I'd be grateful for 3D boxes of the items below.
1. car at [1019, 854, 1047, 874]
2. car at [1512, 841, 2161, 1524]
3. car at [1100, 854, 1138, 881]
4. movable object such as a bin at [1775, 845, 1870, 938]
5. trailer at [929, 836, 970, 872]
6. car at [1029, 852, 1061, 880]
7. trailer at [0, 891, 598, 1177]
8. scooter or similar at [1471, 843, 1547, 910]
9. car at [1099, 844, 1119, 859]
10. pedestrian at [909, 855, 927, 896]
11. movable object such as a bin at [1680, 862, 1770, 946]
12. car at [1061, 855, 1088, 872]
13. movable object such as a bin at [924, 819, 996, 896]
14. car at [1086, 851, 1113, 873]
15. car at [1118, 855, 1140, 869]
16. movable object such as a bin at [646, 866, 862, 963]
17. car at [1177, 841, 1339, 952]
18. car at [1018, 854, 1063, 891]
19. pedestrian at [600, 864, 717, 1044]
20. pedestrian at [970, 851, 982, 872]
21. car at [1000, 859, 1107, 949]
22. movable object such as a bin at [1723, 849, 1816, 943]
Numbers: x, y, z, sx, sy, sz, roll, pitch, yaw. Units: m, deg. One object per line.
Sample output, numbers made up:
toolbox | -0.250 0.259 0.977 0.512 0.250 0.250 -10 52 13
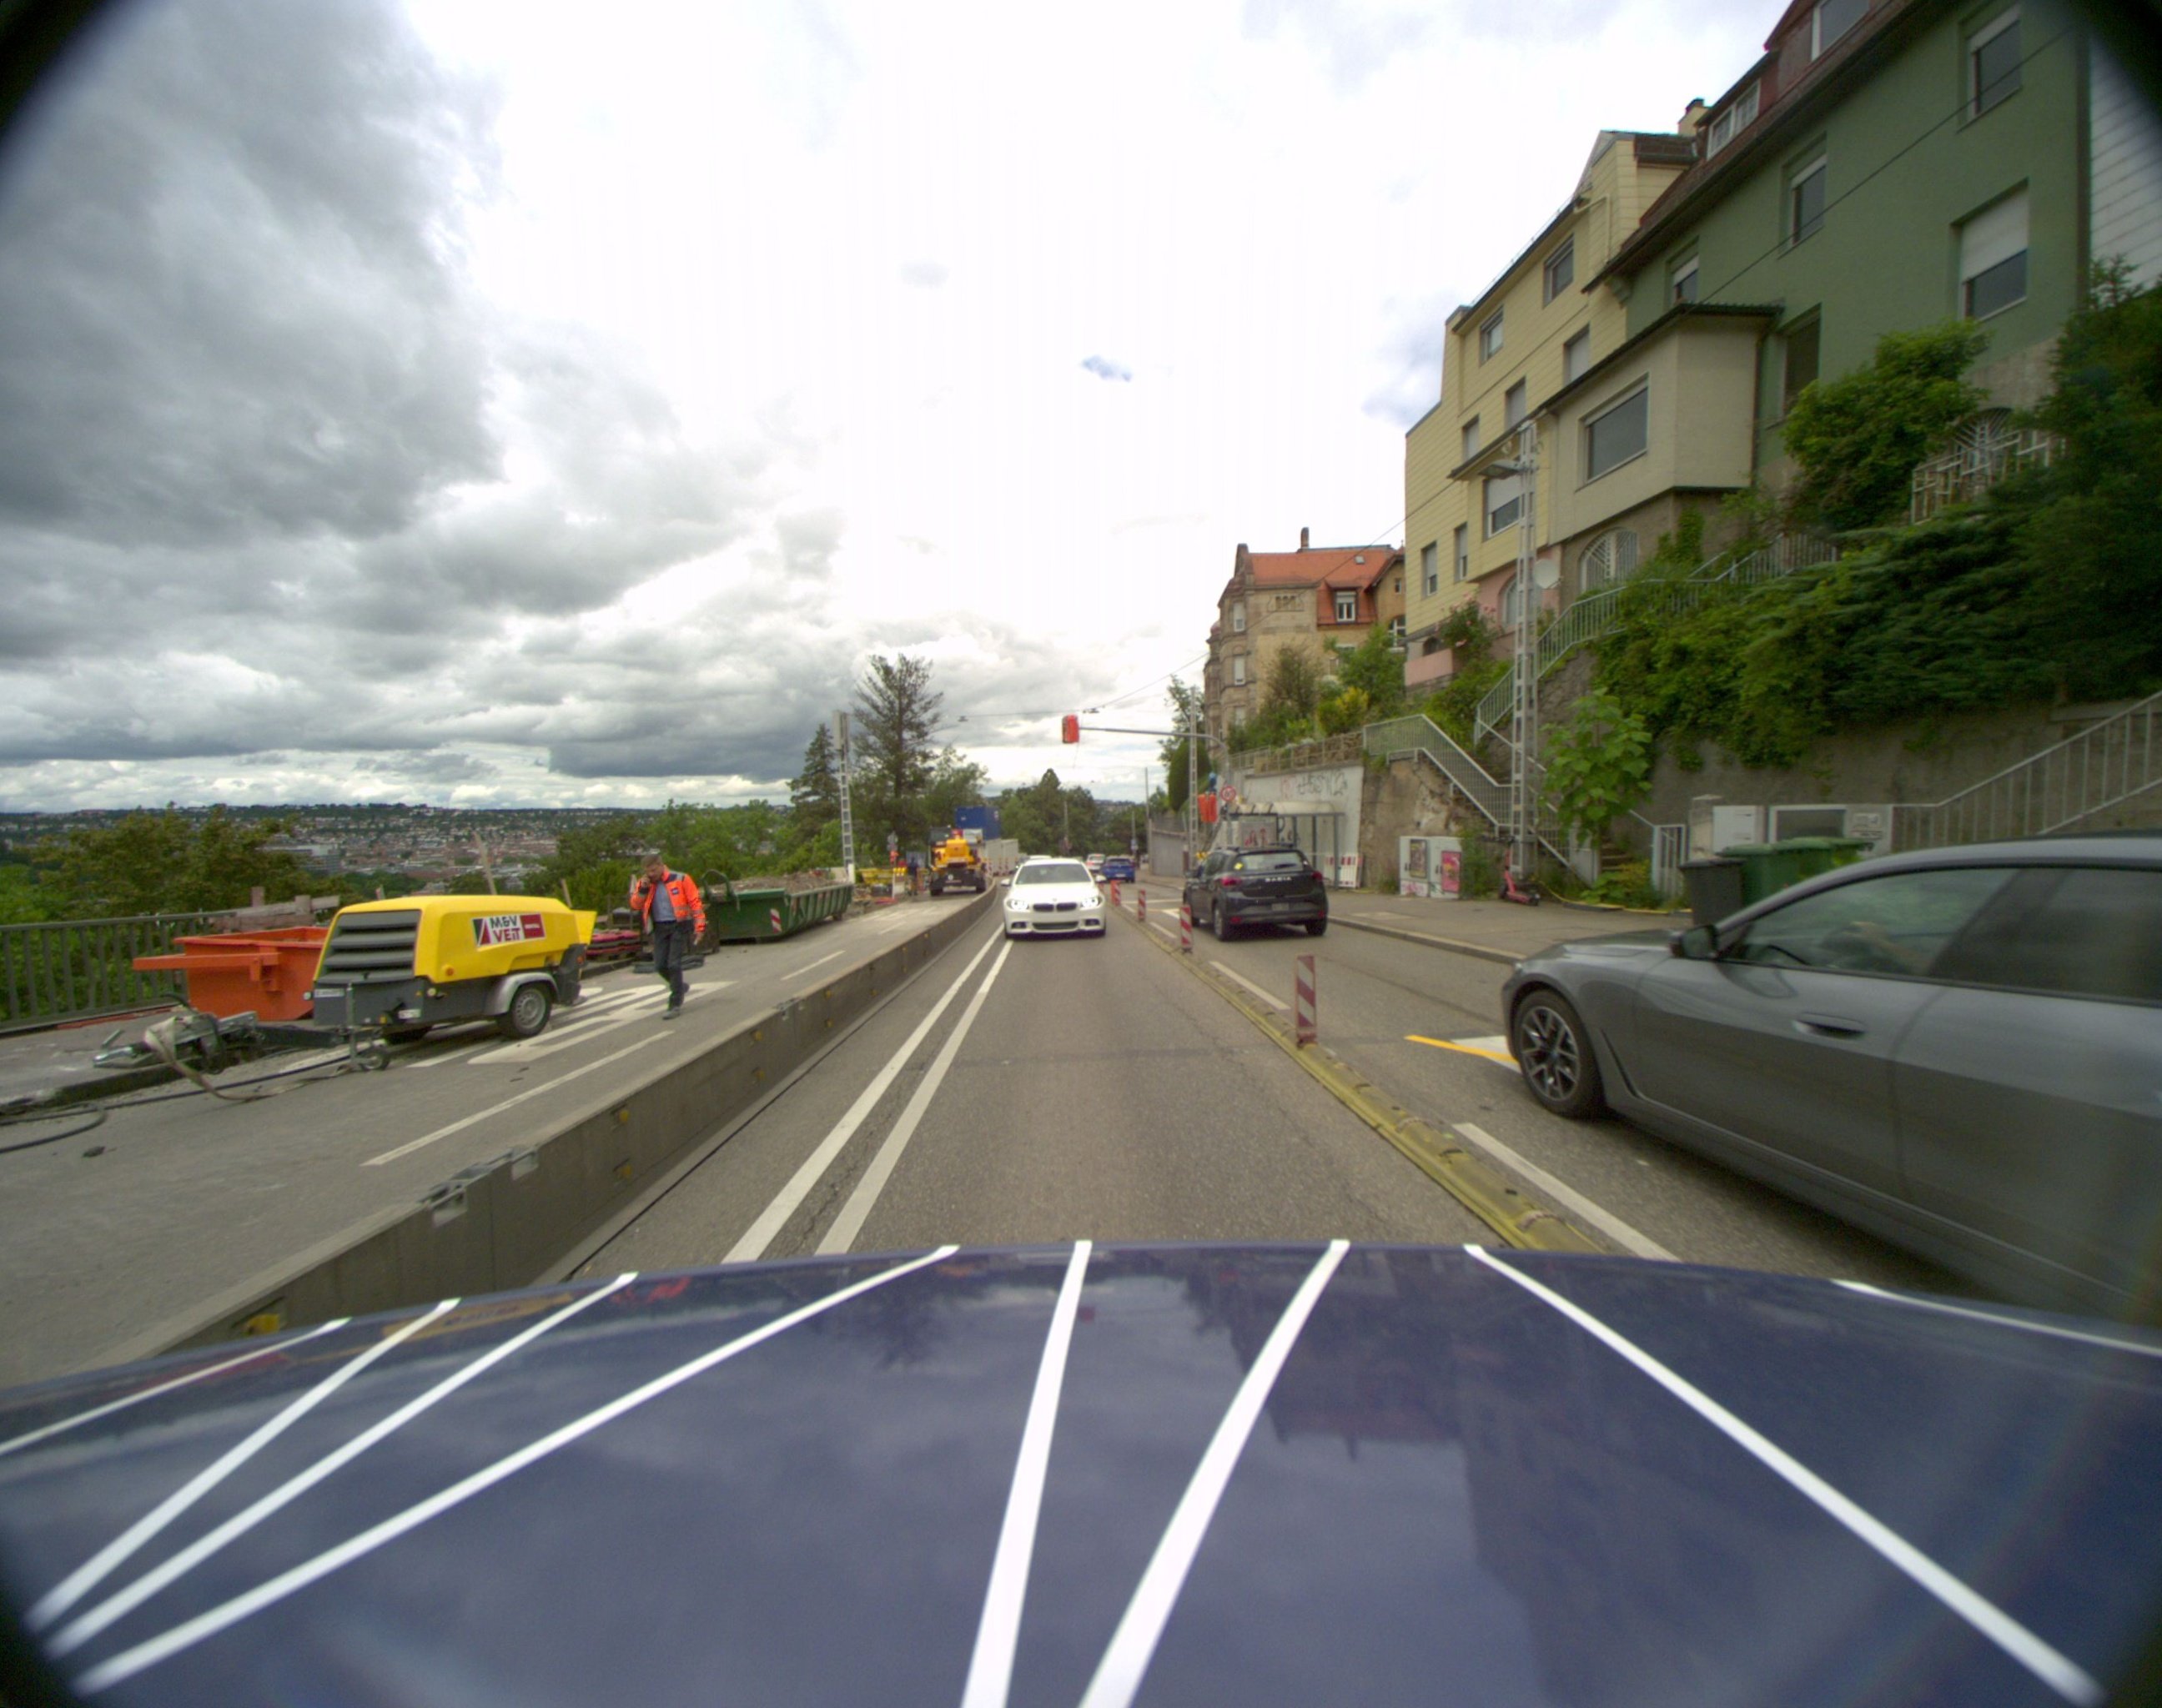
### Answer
car | -3.802 0.775 60.652 1.798 1.501 4.000 1 1 2
car | 3.349 0.750 2.118 1.800 1.473 4.328 -4 1 0
car | 2.048 0.724 41.653 1.731 1.412 3.820 -1 0 -2
movable object such as a bin | 8.836 0.435 9.076 0.469 1.047 0.624 -4 1 -4
trailer | -9.661 -0.032 56.075 2.112 2.535 5.118 0 0 0
car | -2.155 0.705 45.957 1.792 1.542 4.244 -1 0 -2
trailer | -5.910 1.160 6.295 1.291 1.466 3.634 -2 0 3
scooter or similar | 8.135 0.406 14.501 0.461 1.198 1.434 -4 1 -6
car | 2.729 -0.272 74.188 1.675 1.422 3.589 0 0 6
pedestrian | -7.297 0.948 34.089 0.691 1.784 0.539 -2 0 -16
movable object such as a bin | 7.584 0.571 8.968 0.469 0.929 0.624 -4 1 -4
car | -0.576 0.890 73.388 1.797 1.501 4.003 1 1 11
movable object such as a bin | -5.531 0.148 35.508 2.820 3.053 7.818 -3 0 -7
car | 1.379 0.565 58.099 1.846 1.590 4.263 -2 0 0
car | 5.103 0.810 80.461 1.802 1.365 4.392 1 1 11
movable object such as a bin | -7.036 1.162 17.557 2.381 1.552 7.095 -3 0 -5
car | 2.970 0.643 13.585 1.820 1.613 3.818 -3 0 -2
car | -1.779 0.788 33.861 1.792 1.472 4.243 -3 0 -3
pedestrian | -4.275 0.968 7.752 0.647 1.692 0.850 -3 1 -3
pedestrian | -8.587 0.595 62.015 0.651 1.651 0.648 -4 1 -37
car | -0.469 0.881 15.361 1.792 1.472 4.244 -3 0 0
movable object such as a bin | 8.101 0.476 8.962 0.469 1.047 0.624 -4 1 -4
